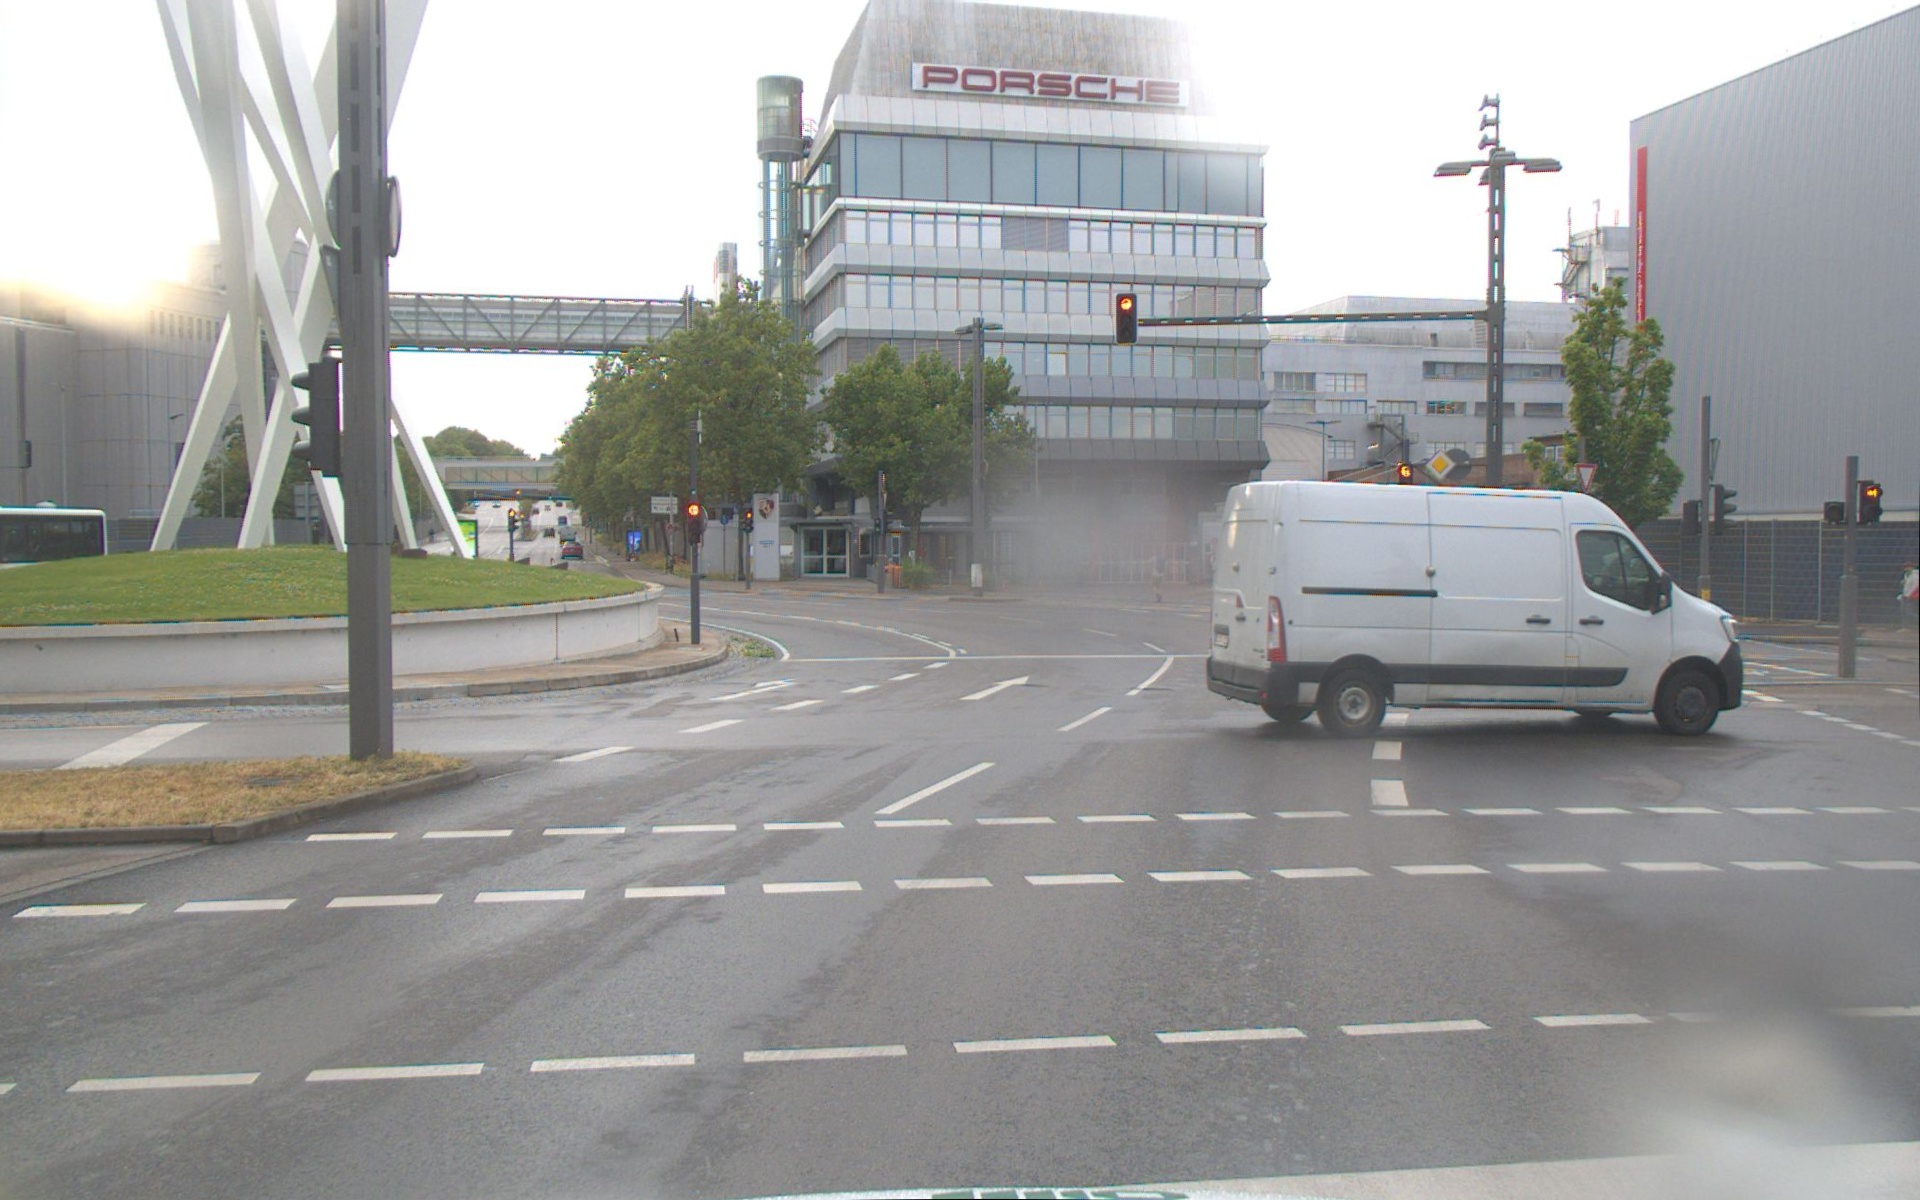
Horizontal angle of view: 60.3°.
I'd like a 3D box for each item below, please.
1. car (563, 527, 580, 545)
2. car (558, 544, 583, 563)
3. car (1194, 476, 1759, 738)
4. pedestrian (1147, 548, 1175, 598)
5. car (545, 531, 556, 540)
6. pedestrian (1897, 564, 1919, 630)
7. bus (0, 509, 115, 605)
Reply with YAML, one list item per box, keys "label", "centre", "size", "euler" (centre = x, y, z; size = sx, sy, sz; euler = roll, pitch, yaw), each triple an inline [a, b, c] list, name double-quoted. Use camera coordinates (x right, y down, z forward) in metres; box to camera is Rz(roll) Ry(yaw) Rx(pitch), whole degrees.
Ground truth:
- label: "car"
  centre: [-50.590, -8.287, 215.399]
  size: [2.194, 2.145, 4.937]
  euler: [0, -1, -13]
- label: "car"
  centre: [-32.479, -3.850, 137.807]
  size: [1.745, 1.490, 3.713]
  euler: [0, 0, -18]
- label: "car"
  centre: [5.288, 0.021, 17.204]
  size: [5.310, 2.490, 1.995]
  euler: [-1, 1, -10]
- label: "pedestrian"
  centre: [6.678, -0.893, 55.017]
  size: [0.791, 1.639, 0.770]
  euler: [-1, -1, 16]
- label: "car"
  centre: [-62.290, -9.819, 251.668]
  size: [1.531, 1.311, 3.400]
  euler: [0, 0, -15]
- label: "pedestrian"
  centre: [21.814, -0.065, 37.849]
  size: [0.601, 1.507, 0.422]
  euler: [0, 0, 35]
- label: "bus"
  centre: [-33.985, -1.474, 56.767]
  size: [2.612, 3.257, 12.677]
  euler: [0, 1, 5]
